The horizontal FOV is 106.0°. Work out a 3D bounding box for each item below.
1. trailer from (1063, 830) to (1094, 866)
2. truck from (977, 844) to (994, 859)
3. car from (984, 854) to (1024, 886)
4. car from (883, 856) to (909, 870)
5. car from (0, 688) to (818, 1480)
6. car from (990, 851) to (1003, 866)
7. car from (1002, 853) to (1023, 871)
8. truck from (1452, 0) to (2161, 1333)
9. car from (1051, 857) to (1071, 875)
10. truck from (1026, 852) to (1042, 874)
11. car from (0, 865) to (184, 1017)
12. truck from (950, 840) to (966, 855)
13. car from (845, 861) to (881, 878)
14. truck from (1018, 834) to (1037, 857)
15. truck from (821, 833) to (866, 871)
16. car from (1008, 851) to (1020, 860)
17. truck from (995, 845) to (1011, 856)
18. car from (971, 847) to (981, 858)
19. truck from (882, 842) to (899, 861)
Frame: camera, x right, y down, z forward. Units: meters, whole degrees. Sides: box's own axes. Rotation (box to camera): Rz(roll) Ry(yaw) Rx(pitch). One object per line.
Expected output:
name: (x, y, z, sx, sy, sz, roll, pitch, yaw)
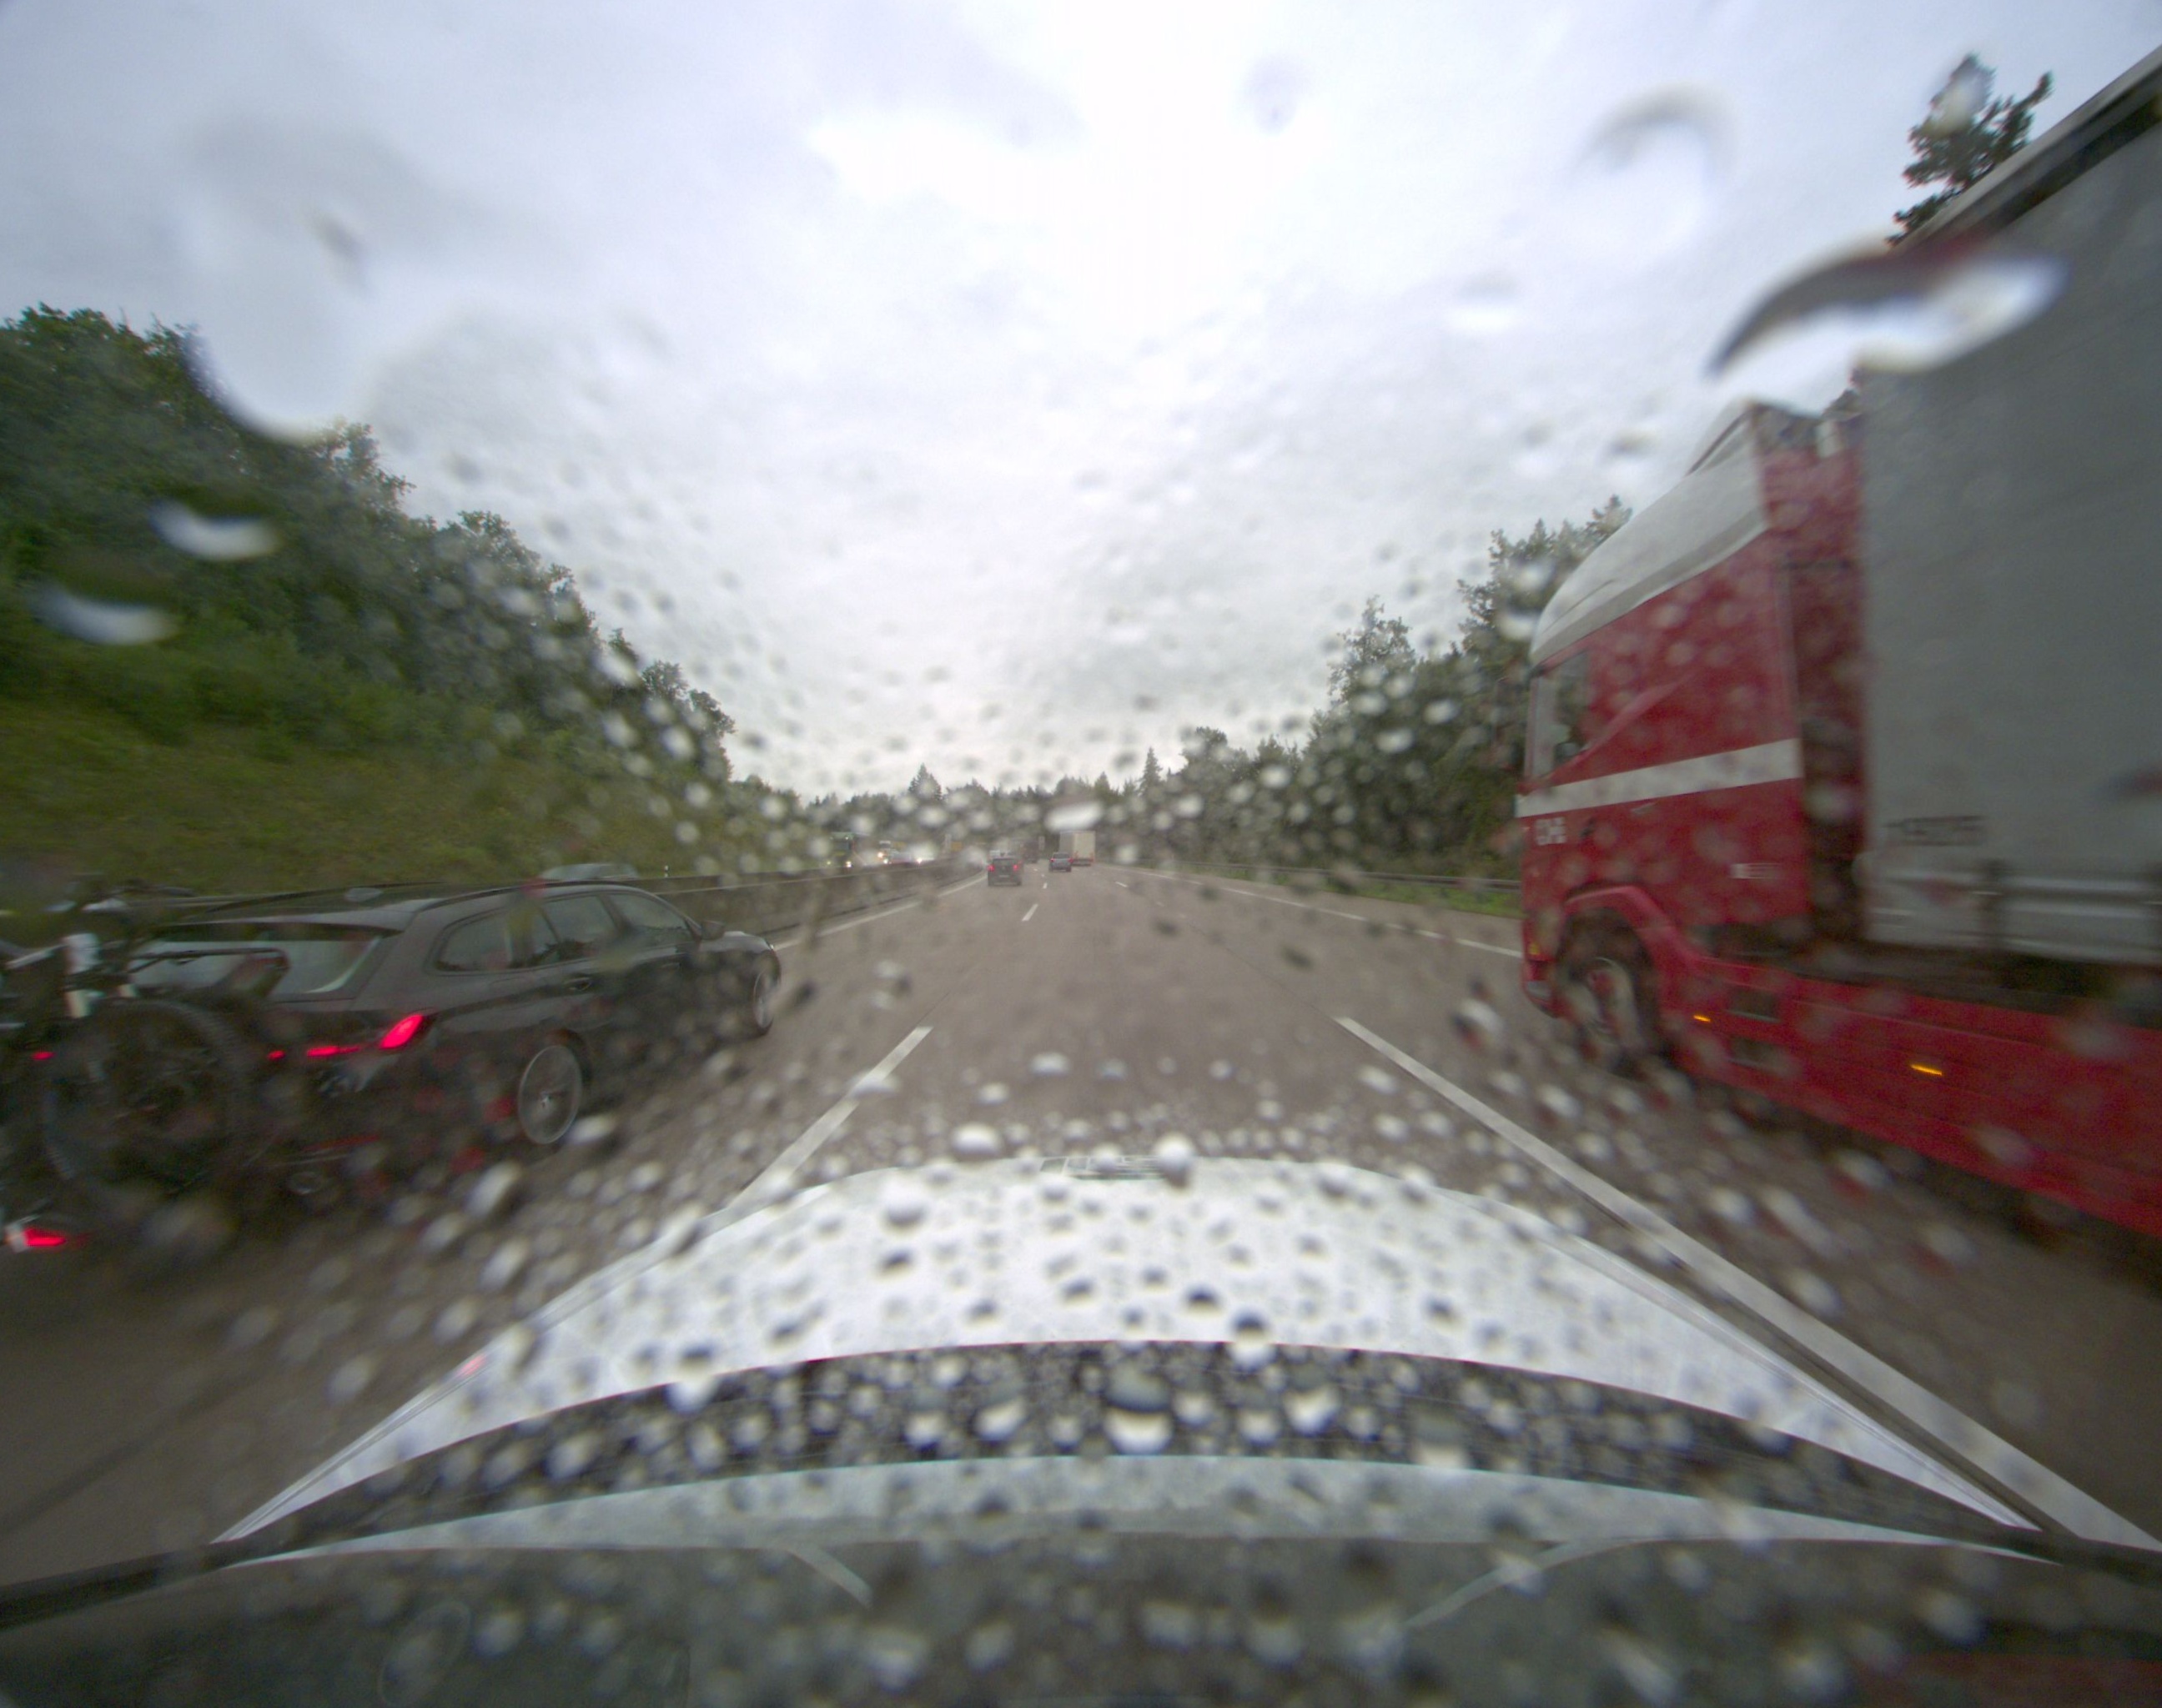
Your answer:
trailer: (-0.359, -0.744, 96.596, 2.417, 4.068, 12.028, 0, 1, -6)
truck: (-20.414, -0.590, 174.403, 3.084, 2.905, 7.874, 0, 1, -11)
car: (-3.836, 0.764, 41.023, 1.679, 1.462, 3.682, 1, 0, -1)
car: (-21.153, 1.004, 93.210, 1.988, 1.585, 4.768, -1, 0, -2)
car: (-3.579, 0.573, 4.907, 1.901, 1.945, 6.163, -1, 0, 1)
car: (-12.271, 0.644, 118.469, 1.722, 2.013, 3.651, -1, 0, -5)
car: (-5.473, 0.656, 65.308, 1.550, 1.351, 3.680, 1, 0, -3)
truck: (4.460, -0.574, 4.245, 2.366, 3.953, 6.163, -1, 0, 2)
car: (-1.657, 1.003, 67.600, 1.549, 1.351, 3.681, 1, 0, -1)
truck: (-6.798, 1.284, 118.156, 2.265, 2.886, 7.893, 0, 1, -4)
car: (-12.100, 0.930, 8.041, 1.736, 1.561, 4.282, -1, 0, -1)
truck: (-35.943, -1.965, 237.275, 3.747, 4.210, 6.783, -1, 0, -15)
car: (-18.066, 1.266, 67.700, 1.988, 1.293, 4.294, -1, 0, -2)
truck: (-9.902, -1.512, 150.975, 3.363, 4.131, 10.421, 0, 1, -5)
truck: (-25.655, -0.225, 88.406, 2.921, 3.960, 8.106, -1, 0, -4)
car: (-11.020, 0.269, 133.753, 1.878, 1.473, 3.995, 1, 0, -3)
truck: (-17.507, -0.761, 182.748, 2.975, 2.309, 6.644, 2, 0, -10)
car: (-21.094, -0.325, 163.407, 1.992, 2.059, 3.989, -1, 0, -8)
truck: (-40.553, -0.507, 173.601, 2.905, 3.889, 7.343, -1, 0, -8)
